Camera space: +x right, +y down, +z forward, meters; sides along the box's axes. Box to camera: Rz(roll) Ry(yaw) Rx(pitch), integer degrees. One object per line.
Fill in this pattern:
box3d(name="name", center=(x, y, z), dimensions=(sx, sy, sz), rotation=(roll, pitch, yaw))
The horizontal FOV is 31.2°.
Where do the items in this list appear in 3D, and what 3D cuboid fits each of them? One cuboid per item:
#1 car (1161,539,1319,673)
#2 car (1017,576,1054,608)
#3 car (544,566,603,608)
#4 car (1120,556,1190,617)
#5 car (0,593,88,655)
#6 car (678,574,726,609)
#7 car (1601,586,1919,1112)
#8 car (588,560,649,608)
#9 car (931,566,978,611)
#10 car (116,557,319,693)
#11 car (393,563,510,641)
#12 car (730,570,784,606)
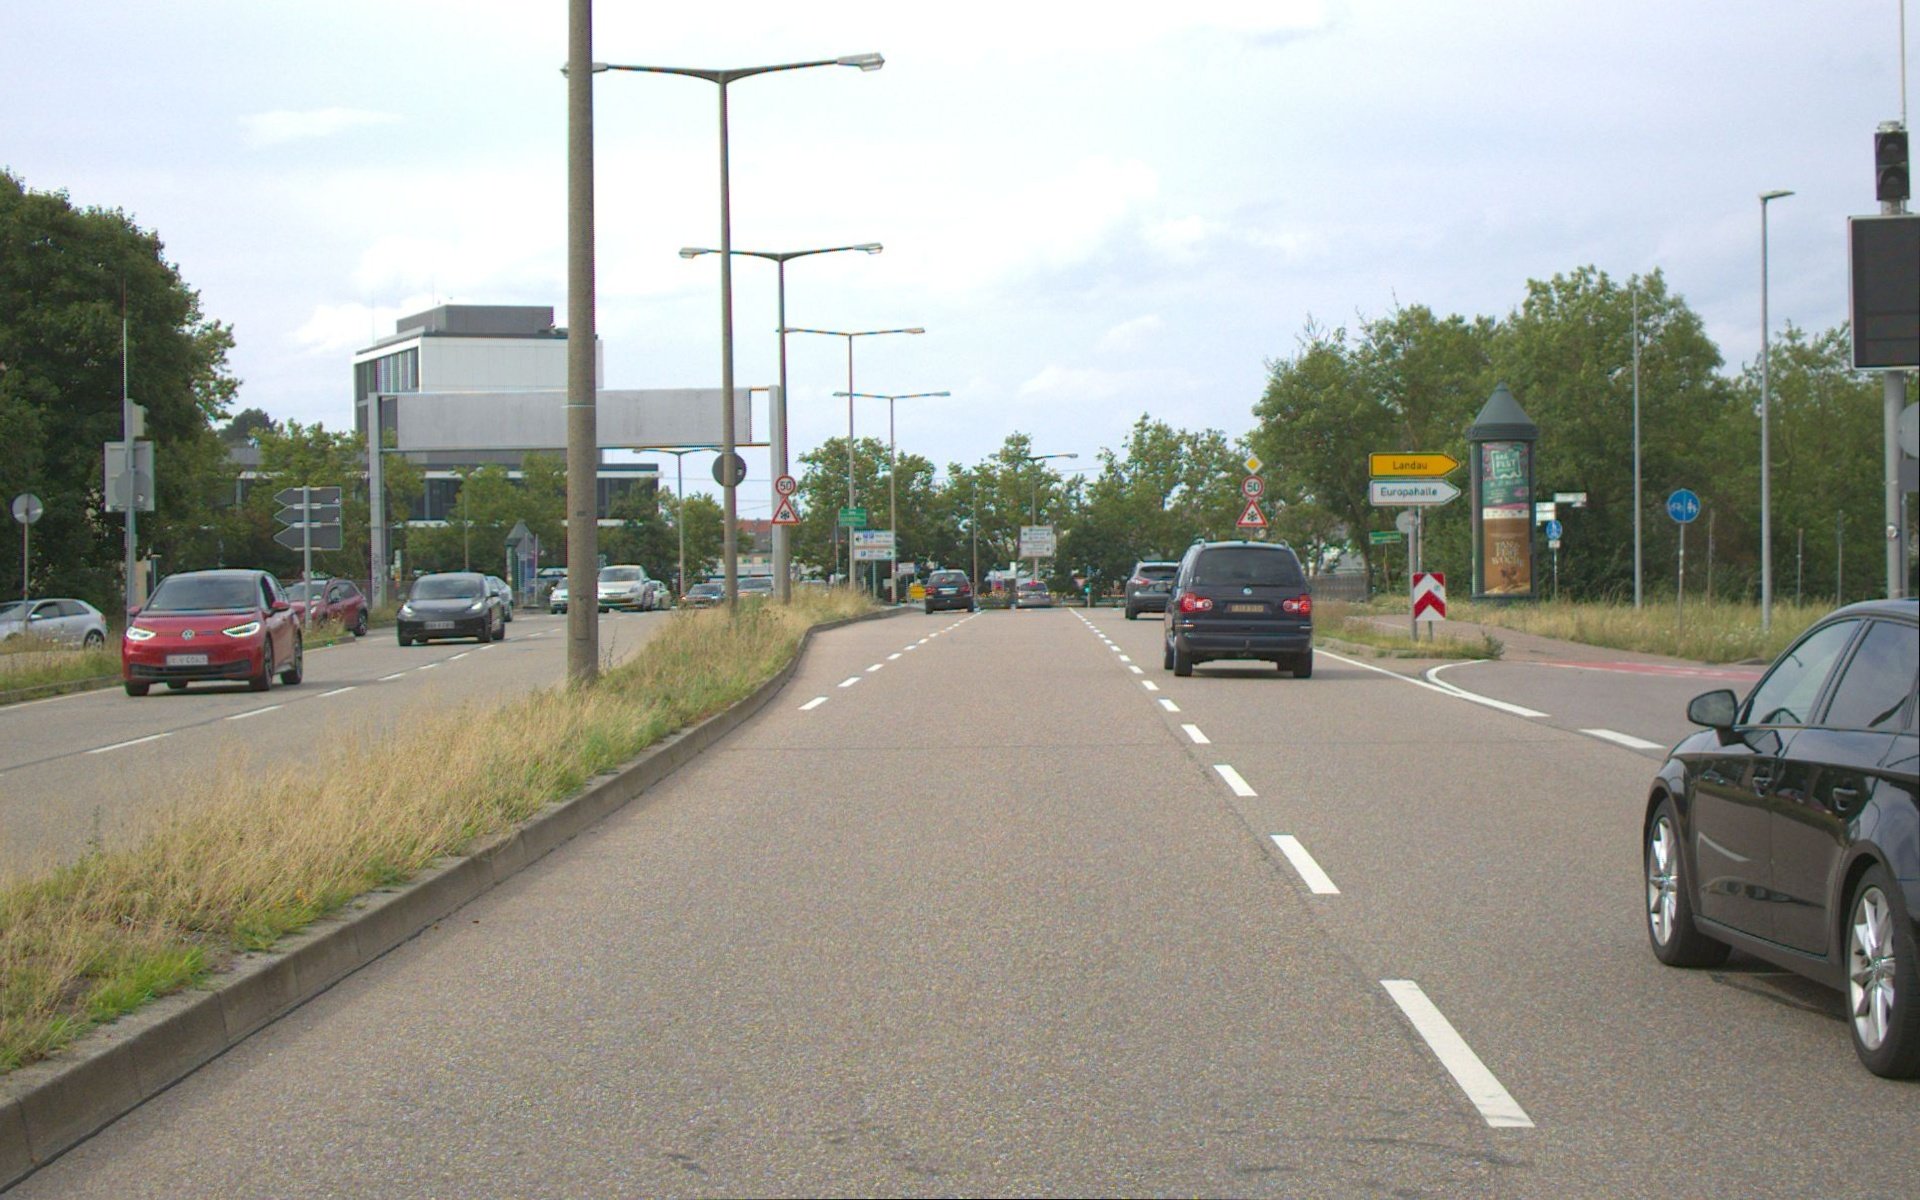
box3d(name="car", center=(3.590, 0.054, 44.683), dimensions=(1.730, 1.647, 4.115), rotation=(0, 1, 0))
box3d(name="car", center=(3.662, -0.418, 167.795), dimensions=(1.730, 1.521, 4.115), rotation=(0, 1, 0))
box3d(name="car", center=(-14.732, -0.506, 131.138), dimensions=(1.666, 1.414, 4.092), rotation=(-2, 2, 1))
box3d(name="car", center=(5.403, -0.382, 95.519), dimensions=(1.730, 1.647, 4.115), rotation=(0, 1, 0))
box3d(name="car", center=(-20.323, 0.519, 74.843), dimensions=(1.269, 1.269, 3.007), rotation=(-1, 1, 15))
box3d(name="car", center=(-12.134, -0.389, 162.013), dimensions=(1.793, 1.520, 4.594), rotation=(-2, 0, 1))
box3d(name="car", center=(3.394, 0.675, 11.123), dimensions=(1.730, 1.390, 4.115), rotation=(1, 1, -2))
box3d(name="car", center=(-11.827, -0.567, 119.269), dimensions=(1.745, 1.593, 4.565), rotation=(-2, 1, -2))
box3d(name="car", center=(-0.204, -0.431, 127.845), dimensions=(1.730, 1.647, 4.115), rotation=(0, 1, 0))
box3d(name="car", center=(-9.496, 0.282, 44.287), dimensions=(1.651, 1.569, 4.338), rotation=(-3, 1, -1))
box3d(name="car", center=(-10.370, 0.020, 70.344), dimensions=(1.745, 1.470, 4.565), rotation=(-2, 1, -1))
box3d(name="car", center=(-8.719, -0.503, 147.936), dimensions=(1.666, 1.421, 4.518), rotation=(-3, 0, 4))
